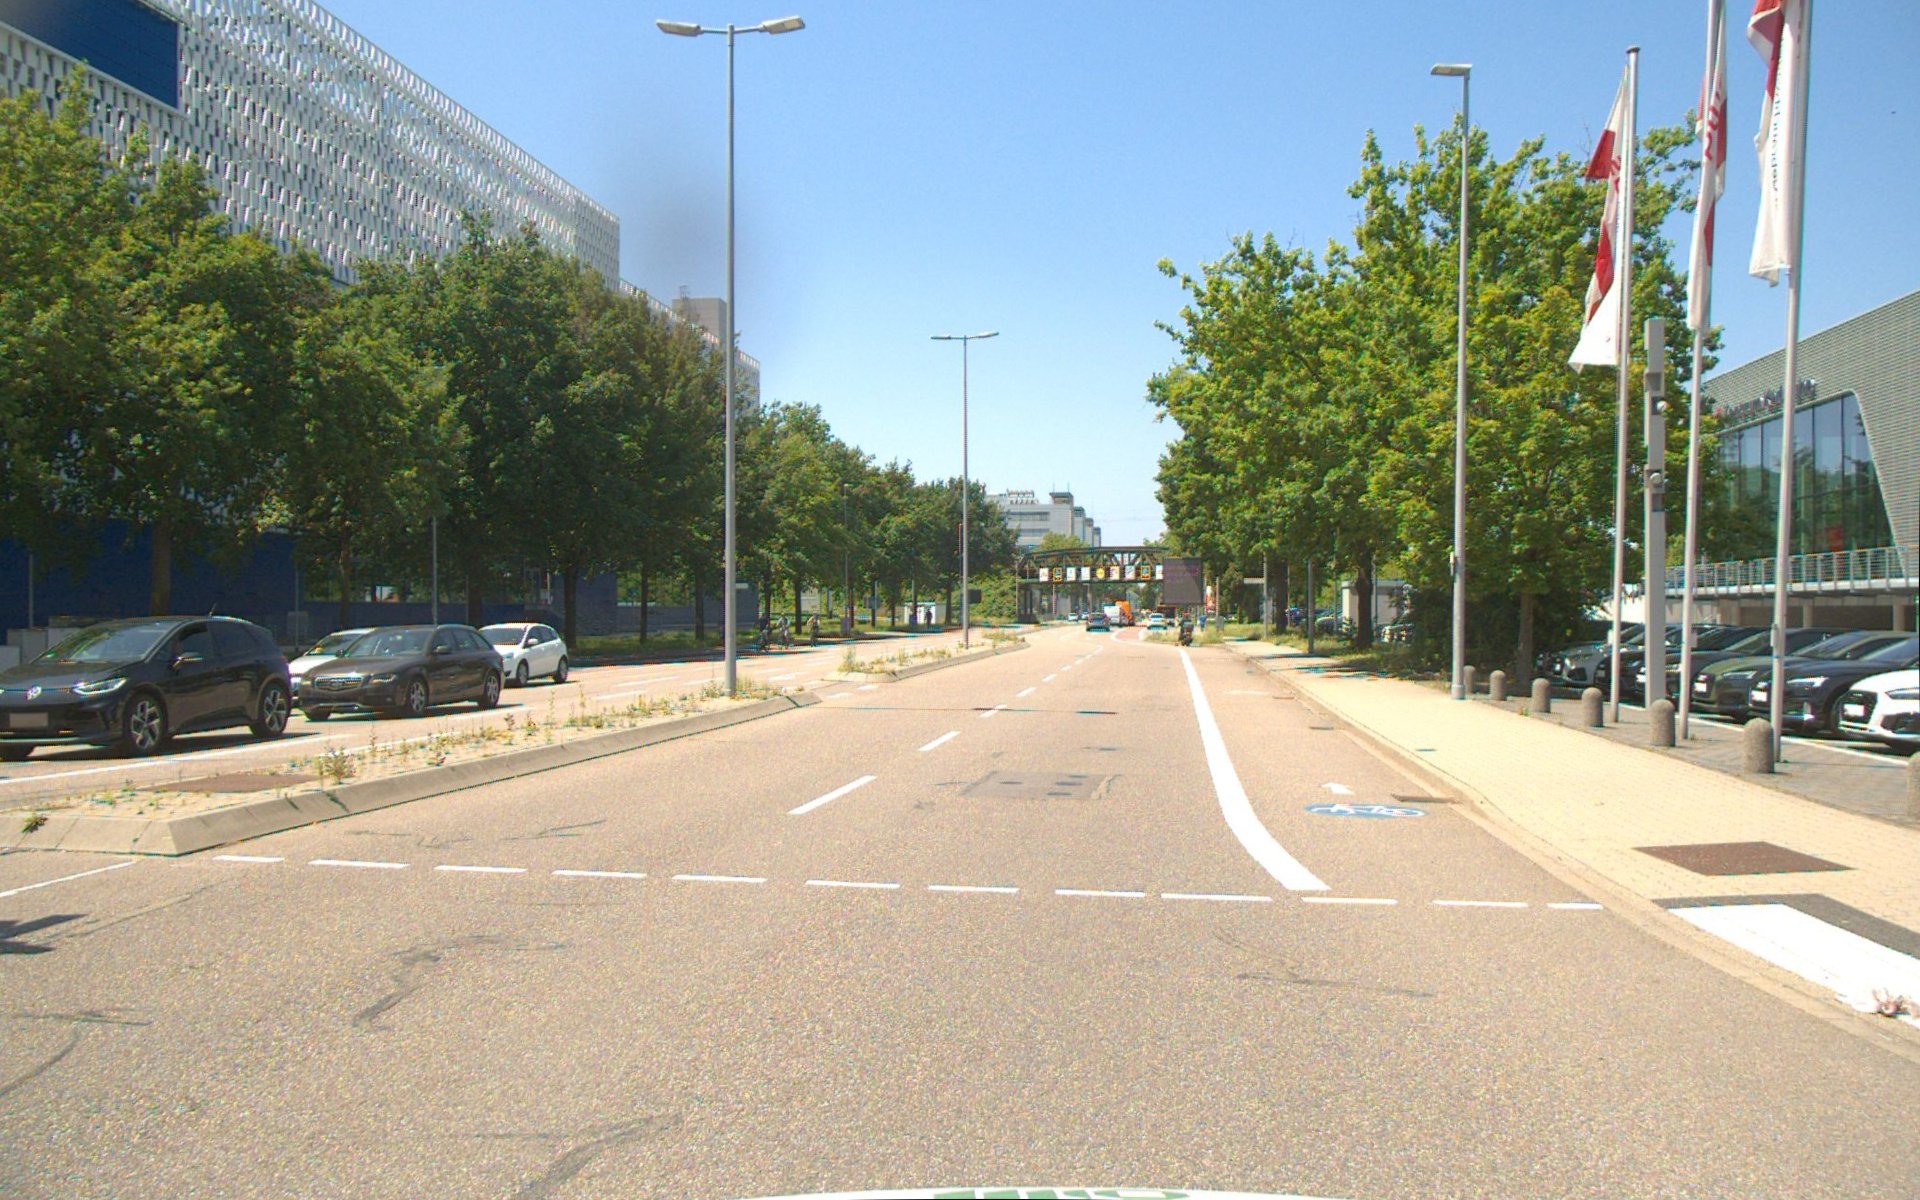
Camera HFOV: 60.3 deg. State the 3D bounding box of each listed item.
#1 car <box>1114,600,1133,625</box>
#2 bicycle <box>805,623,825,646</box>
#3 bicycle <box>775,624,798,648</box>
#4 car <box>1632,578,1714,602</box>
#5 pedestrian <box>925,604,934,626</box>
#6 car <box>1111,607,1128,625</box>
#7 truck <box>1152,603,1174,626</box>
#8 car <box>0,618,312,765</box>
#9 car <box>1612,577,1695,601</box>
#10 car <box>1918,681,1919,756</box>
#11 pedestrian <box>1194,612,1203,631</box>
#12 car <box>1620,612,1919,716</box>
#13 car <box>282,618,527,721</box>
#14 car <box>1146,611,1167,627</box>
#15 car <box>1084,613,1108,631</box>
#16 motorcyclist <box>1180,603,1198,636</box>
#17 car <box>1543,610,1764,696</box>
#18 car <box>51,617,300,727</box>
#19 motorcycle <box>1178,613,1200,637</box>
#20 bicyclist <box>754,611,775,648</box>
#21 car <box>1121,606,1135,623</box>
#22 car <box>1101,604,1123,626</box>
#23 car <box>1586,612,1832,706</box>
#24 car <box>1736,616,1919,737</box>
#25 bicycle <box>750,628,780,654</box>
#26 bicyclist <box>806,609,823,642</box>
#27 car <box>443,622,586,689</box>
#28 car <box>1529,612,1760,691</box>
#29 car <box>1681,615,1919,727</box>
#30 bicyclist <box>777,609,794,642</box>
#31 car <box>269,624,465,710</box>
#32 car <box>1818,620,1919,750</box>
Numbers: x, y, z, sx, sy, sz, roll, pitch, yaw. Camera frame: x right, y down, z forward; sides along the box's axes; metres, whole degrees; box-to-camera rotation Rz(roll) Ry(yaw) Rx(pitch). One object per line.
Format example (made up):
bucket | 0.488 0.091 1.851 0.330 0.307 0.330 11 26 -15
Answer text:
car | 18.831 1.432 190.083 2.029 2.904 6.769 0 0 6
bicycle | -7.562 1.793 86.197 0.615 1.180 2.119 -2 -1 6
bicycle | -8.610 1.792 82.046 0.624 1.153 1.972 0 -1 10
car | 37.868 -0.549 87.910 3.647 1.150 1.684 2 0 3
pedestrian | -2.720 1.349 146.431 0.728 1.917 0.578 0 -1 8
car | 17.249 1.700 178.811 1.854 1.847 4.003 0 0 6
truck | 23.074 1.592 188.088 2.406 2.452 7.139 2 0 7
car | -9.706 1.025 19.877 1.690 1.531 4.246 -2 -1 8
car | 38.048 -0.581 90.815 3.857 1.232 1.718 1 0 3
car | 11.798 0.986 15.933 4.009 1.388 1.876 2 0 7
pedestrian | 17.727 1.586 122.826 0.610 1.399 0.565 0 -1 5
car | 13.216 1.017 27.197 4.014 1.478 1.870 2 0 7
car | -8.834 1.065 26.766 1.689 1.471 4.723 -2 -1 10
car | 18.130 1.713 152.992 1.883 1.445 4.003 1 0 6
car | 11.015 1.756 133.817 1.860 1.400 4.234 0 0 6
motorcyclist | 10.928 0.948 78.939 0.705 1.556 0.870 1 -1 -3
car | 13.506 1.014 32.396 3.603 1.478 1.835 2 0 7
car | -12.160 1.074 25.934 1.690 1.571 3.918 -1 -1 7
motorcycle | 10.923 1.187 78.949 0.702 1.124 1.829 1 -1 -3
bicyclist | -9.171 1.371 77.661 0.729 1.715 0.953 0 -1 9
car | 20.578 1.743 202.873 1.714 2.049 3.874 0 0 6
car | 14.658 1.433 159.330 1.951 2.049 4.003 0 0 6
car | 13.371 1.021 29.725 3.603 1.478 1.835 2 0 7
car | 12.448 1.002 21.167 4.136 1.414 1.870 2 0 7
bicycle | -9.154 1.914 77.745 0.723 1.145 2.436 0 0 9
bicyclist | -7.579 1.323 86.128 0.620 1.657 1.045 -2 -1 6
car | -10.518 1.286 39.410 1.690 1.471 4.455 -2 -1 7
car | 14.422 1.069 35.023 4.142 1.426 1.818 2 0 7
car | 12.796 1.016 23.843 4.014 1.429 1.870 2 0 7
bicyclist | -8.629 1.265 81.983 0.623 1.610 0.885 0 -1 10
car | -11.440 1.251 32.248 1.709 1.447 4.626 -2 0 6
car | 12.125 1.002 18.549 4.012 1.372 1.870 2 0 7
